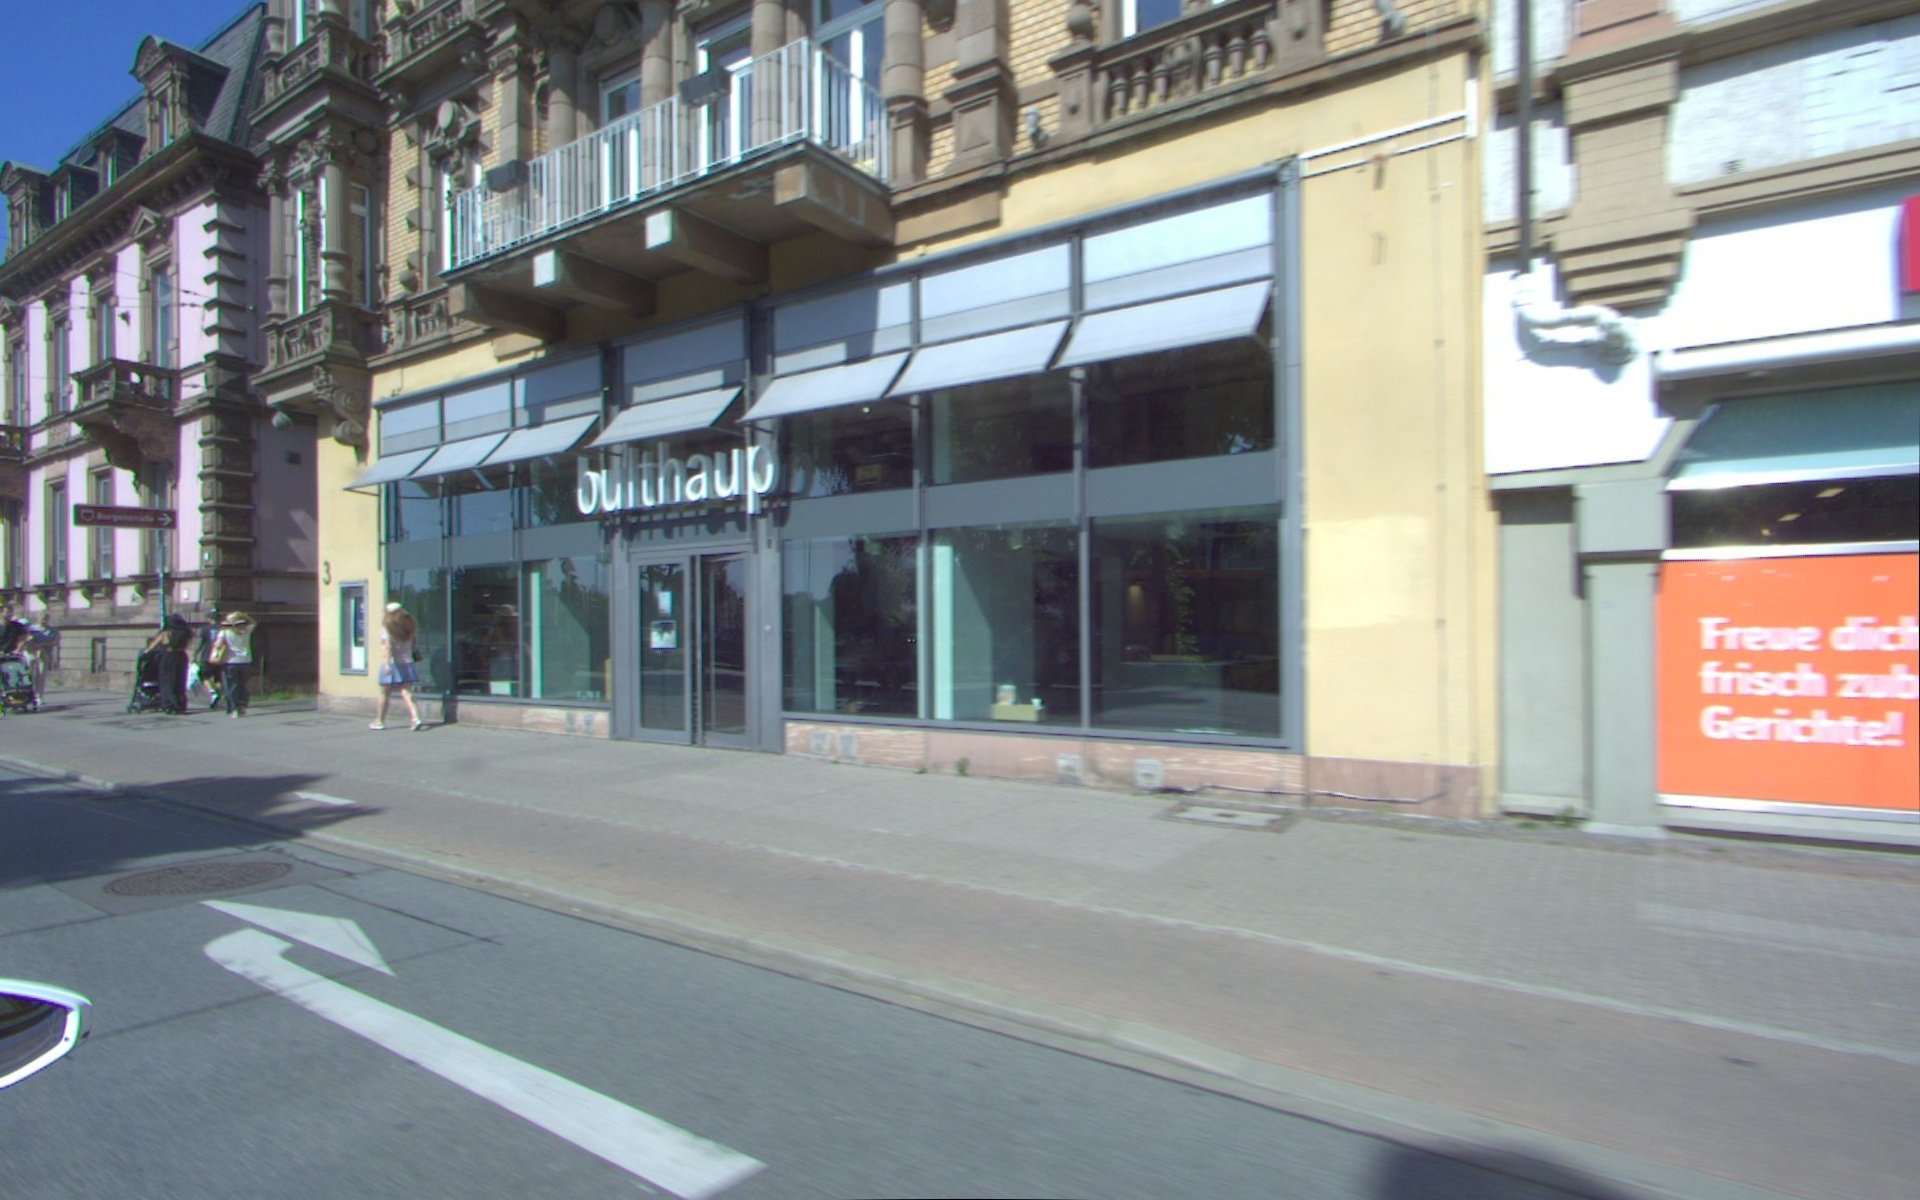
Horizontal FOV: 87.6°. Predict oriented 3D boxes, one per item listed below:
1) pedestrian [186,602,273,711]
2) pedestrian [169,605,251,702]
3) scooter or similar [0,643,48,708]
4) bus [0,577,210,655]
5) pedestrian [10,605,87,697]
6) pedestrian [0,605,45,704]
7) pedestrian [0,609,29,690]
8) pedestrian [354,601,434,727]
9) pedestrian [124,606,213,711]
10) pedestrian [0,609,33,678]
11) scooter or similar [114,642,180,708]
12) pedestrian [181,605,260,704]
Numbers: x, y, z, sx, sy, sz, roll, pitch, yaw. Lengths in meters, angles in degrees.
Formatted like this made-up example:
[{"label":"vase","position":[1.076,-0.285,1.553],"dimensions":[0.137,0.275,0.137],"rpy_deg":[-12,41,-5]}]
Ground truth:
[{"label":"pedestrian","position":[-11.522,0.869,15.812],"dimensions":[0.863,1.661,0.861],"rpy_deg":[0,0,32]},{"label":"pedestrian","position":[-13.249,0.944,17.702],"dimensions":[0.863,1.660,0.861],"rpy_deg":[-1,-3,32]},{"label":"scooter or similar","position":[-15.940,1.259,16.894],"dimensions":[0.788,1.060,0.599],"rpy_deg":[-1,-3,32]},{"label":"bus","position":[-36.013,0.799,41.156],"dimensions":[2.921,2.810,8.646],"rpy_deg":[0,-3,9]},{"label":"pedestrian","position":[-16.928,0.927,18.605],"dimensions":[0.863,1.661,0.861],"rpy_deg":[0,0,32]},{"label":"pedestrian","position":[-16.530,0.936,17.275],"dimensions":[0.863,1.660,0.861],"rpy_deg":[-1,-3,32]},{"label":"pedestrian","position":[-20.087,1.033,20.796],"dimensions":[0.863,1.660,0.861],"rpy_deg":[-1,-3,32]},{"label":"pedestrian","position":[-7.648,0.840,13.533],"dimensions":[0.804,1.642,0.653],"rpy_deg":[0,0,32]},{"label":"pedestrian","position":[-12.938,0.951,16.372],"dimensions":[0.863,1.660,0.861],"rpy_deg":[-1,-3,32]},{"label":"pedestrian","position":[-23.242,1.053,24.292],"dimensions":[0.863,1.660,0.861],"rpy_deg":[-1,-3,32]},{"label":"scooter or similar","position":[-13.578,1.245,16.722],"dimensions":[0.788,1.060,0.599],"rpy_deg":[-1,-3,32]},{"label":"pedestrian","position":[-12.864,0.921,17.417],"dimensions":[0.863,1.661,0.861],"rpy_deg":[0,0,32]}]
